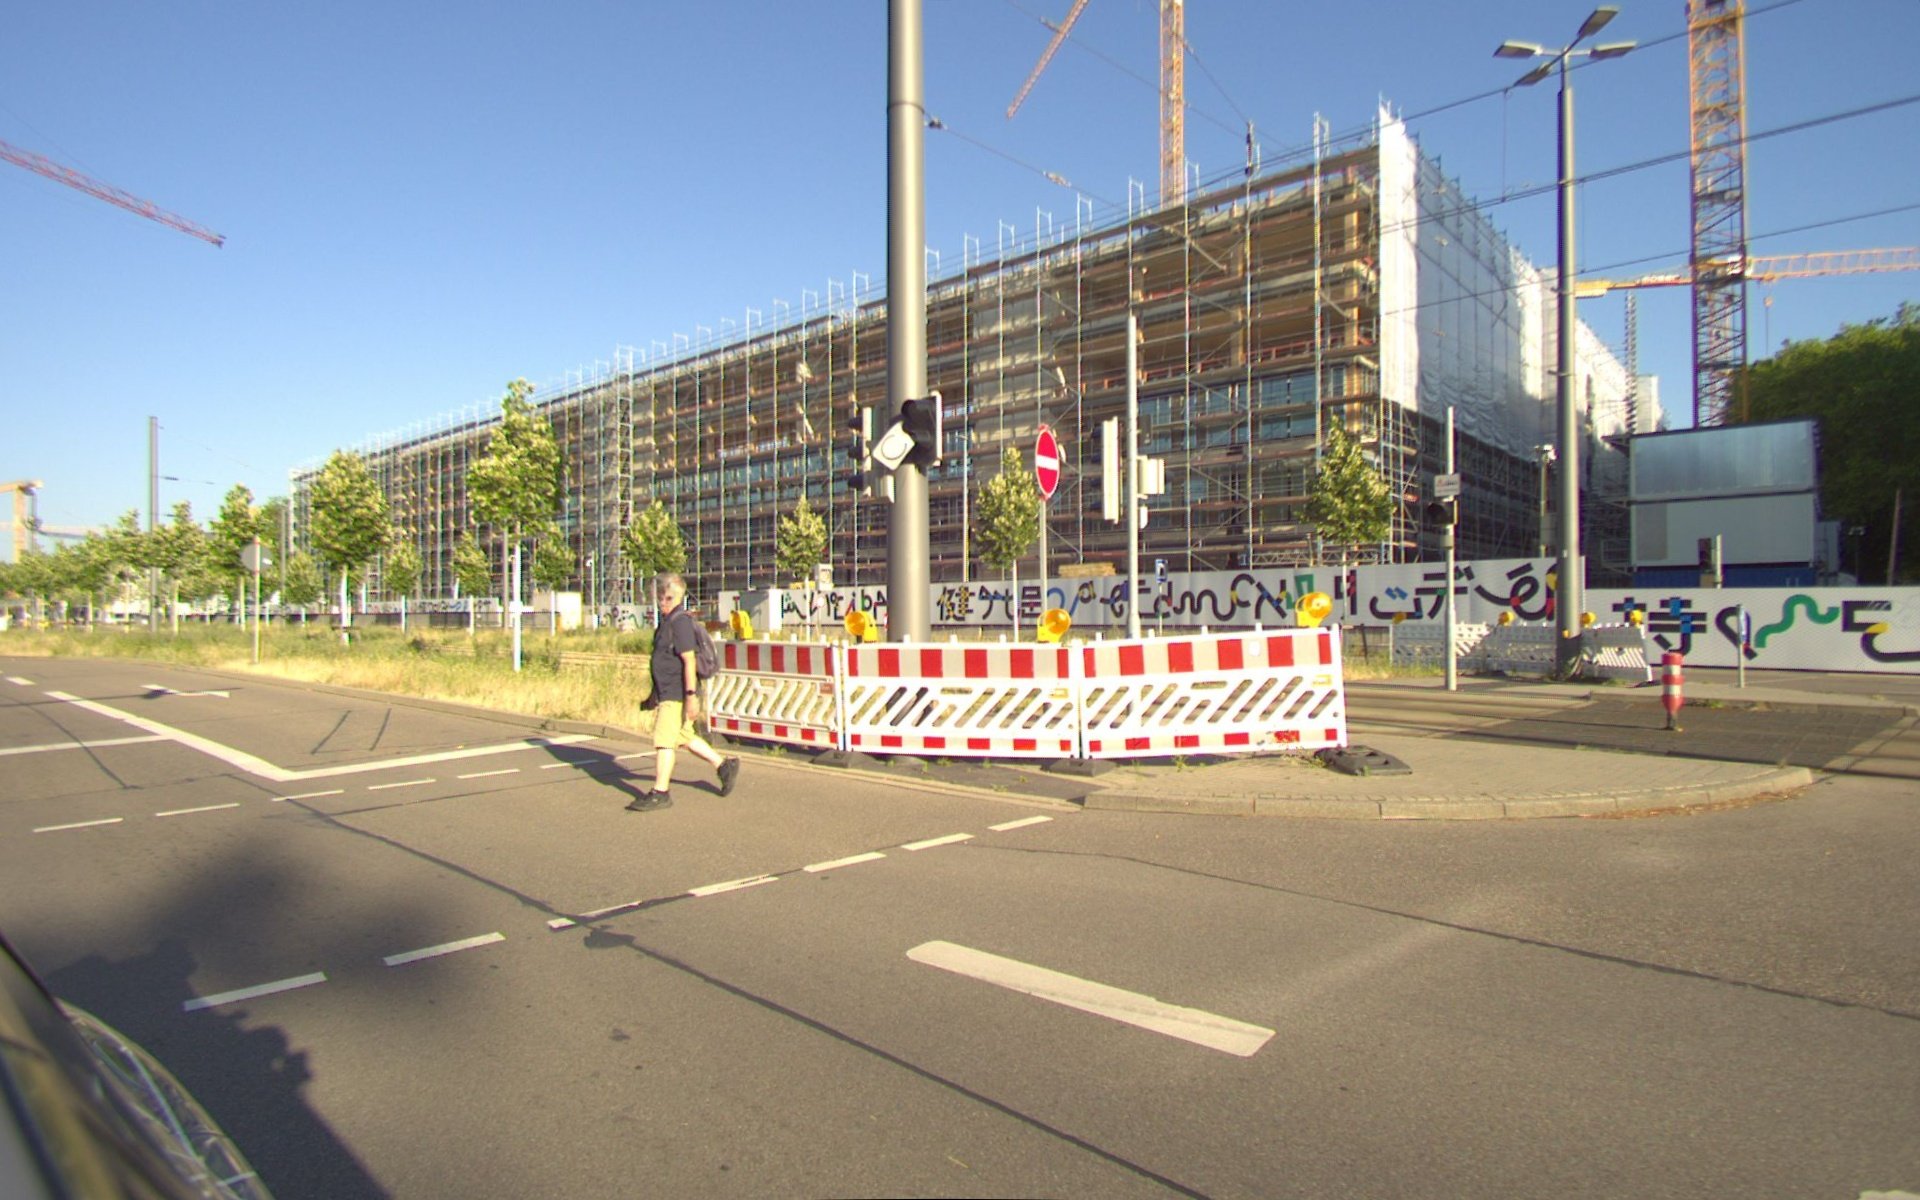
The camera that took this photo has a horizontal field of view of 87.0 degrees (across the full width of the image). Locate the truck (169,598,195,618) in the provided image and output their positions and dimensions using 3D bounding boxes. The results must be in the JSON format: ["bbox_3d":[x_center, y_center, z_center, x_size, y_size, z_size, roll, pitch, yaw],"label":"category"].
[{"bbox_3d":[-103.473,1.108,134.566,4.740,2.593,2.114,-2,-2,43],"label":"truck"}]

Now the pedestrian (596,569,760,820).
[{"bbox_3d":[-2.042,0.634,7.322,0.913,1.661,0.766,0,-1,-40],"label":"pedestrian"}]

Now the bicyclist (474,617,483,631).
[{"bbox_3d":[-40.234,2.043,84.621,0.638,1.162,0.473,-1,-1,42],"label":"bicyclist"}]

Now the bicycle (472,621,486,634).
[{"bbox_3d":[-40.199,2.262,84.609,1.564,1.069,0.473,-1,-1,42],"label":"bicycle"}]
